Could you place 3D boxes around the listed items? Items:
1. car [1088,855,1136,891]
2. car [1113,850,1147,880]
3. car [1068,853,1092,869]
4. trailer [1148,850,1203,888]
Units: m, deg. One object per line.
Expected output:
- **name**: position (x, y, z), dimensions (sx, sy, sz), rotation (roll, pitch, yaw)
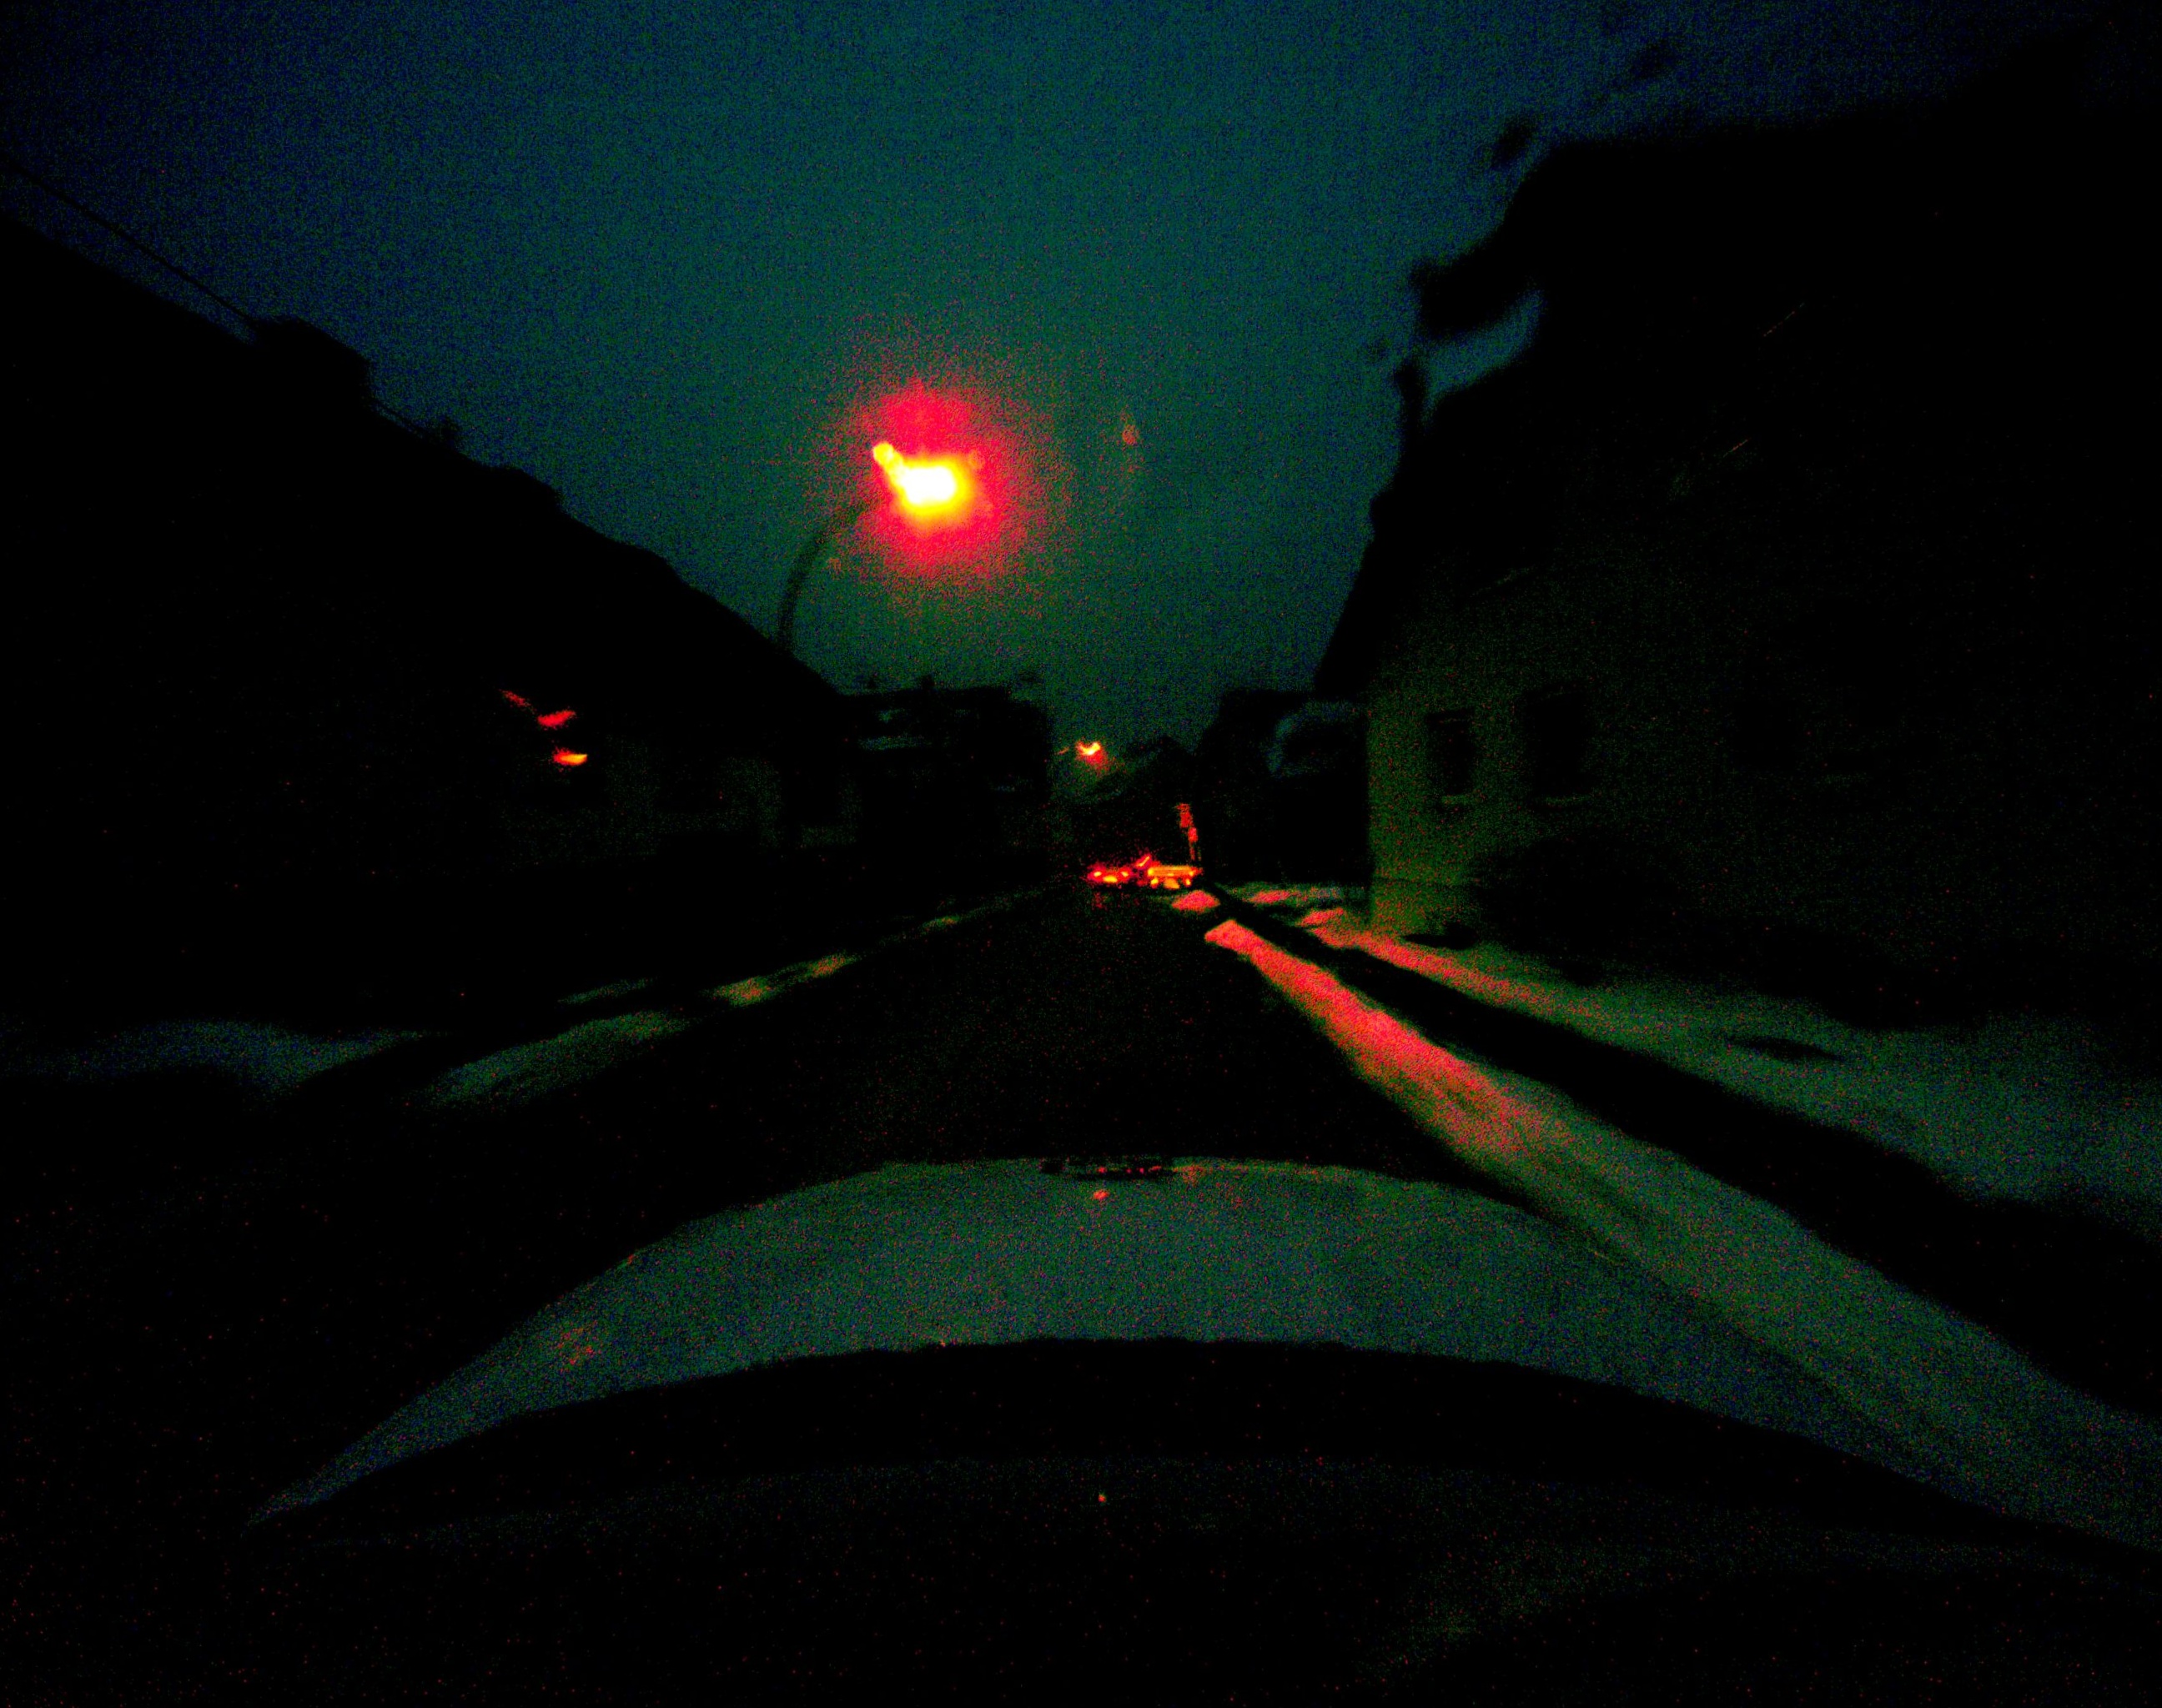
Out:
- **car**: position (1.439, 0.821, 36.626), dimensions (1.984, 1.508, 4.004), rotation (-1, -1, 4)
- **car**: position (3.055, 0.670, 50.221), dimensions (1.985, 1.728, 4.004), rotation (-1, -1, 4)
- **car**: position (-0.169, 0.672, 82.268), dimensions (1.908, 1.481, 4.272), rotation (-3, 0, -6)
- **trailer**: position (3.711, 0.537, 32.036), dimensions (1.983, 1.388, 4.740), rotation (-1, 0, 7)
